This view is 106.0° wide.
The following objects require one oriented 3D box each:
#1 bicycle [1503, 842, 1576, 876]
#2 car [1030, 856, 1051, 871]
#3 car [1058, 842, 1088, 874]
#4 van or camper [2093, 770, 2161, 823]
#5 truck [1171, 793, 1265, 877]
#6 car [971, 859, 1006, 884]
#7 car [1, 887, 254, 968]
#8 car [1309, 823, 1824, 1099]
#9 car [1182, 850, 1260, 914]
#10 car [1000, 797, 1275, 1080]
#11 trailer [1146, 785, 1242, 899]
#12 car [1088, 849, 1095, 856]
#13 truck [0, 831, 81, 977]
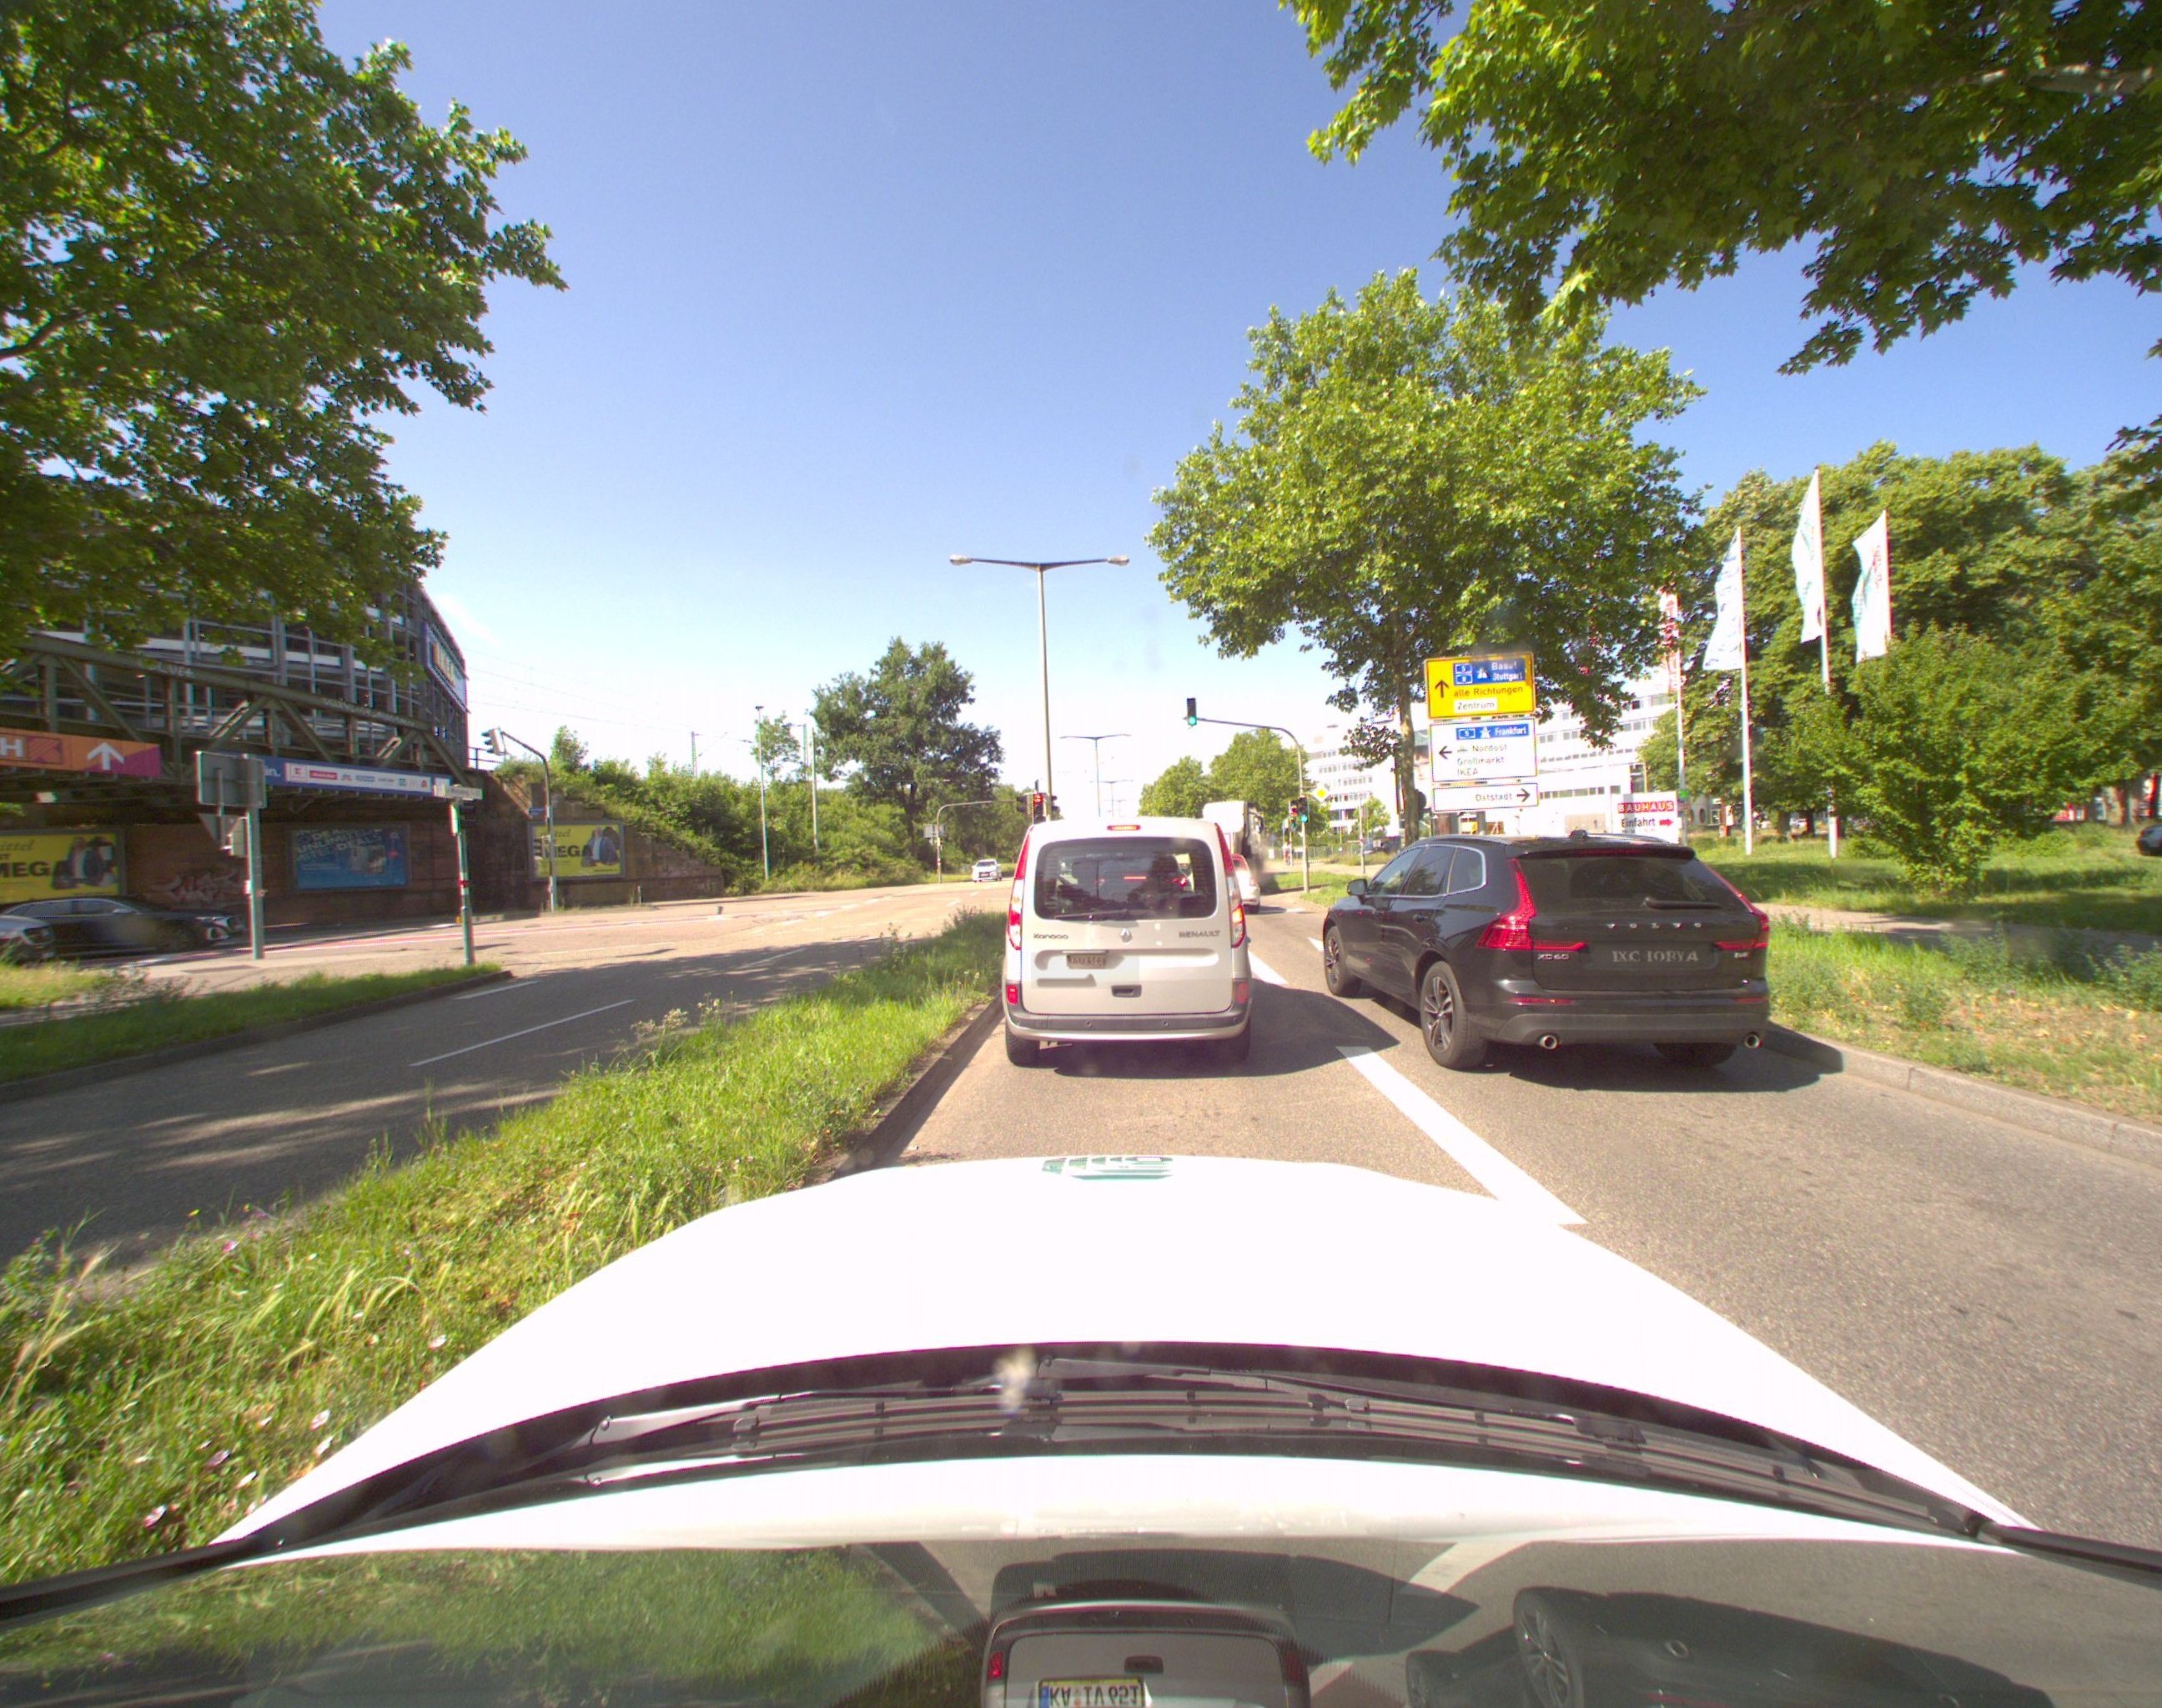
[{"bbox_3d":[15.080,0.169,26.813,1.985,1.014,0.624,-3,0,18],"label":"bicycle"},{"bbox_3d":[-4.808,1.093,97.417,1.902,1.641,3.742,-3,-1,5],"label":"car"},{"bbox_3d":[-0.645,0.349,69.776,1.984,2.607,5.140,-3,-1,5],"label":"car"},{"bbox_3d":[63.646,-3.389,46.467,2.007,2.942,7.213,0,-1,-32],"label":"van or camper"},{"bbox_3d":[6.746,-0.807,39.245,2.885,3.643,7.228,-1,-1,22],"label":"truck"},{"bbox_3d":[-6.253,1.137,55.304,1.693,1.508,4.002,-2,0,2],"label":"car"},{"bbox_3d":[-25.768,1.917,22.257,4.015,1.646,1.885,-4,1,-32],"label":"car"},{"bbox_3d":[3.435,0.638,6.953,1.868,1.591,4.435,0,0,2],"label":"car"},{"bbox_3d":[3.530,0.670,21.024,1.532,1.514,3.261,0,-1,2],"label":"car"},{"bbox_3d":[0.430,0.567,7.307,1.779,1.838,4.001,0,-1,2],"label":"car"},{"bbox_3d":[4.855,-0.334,32.556,2.881,3.622,12.727,-1,0,12],"label":"trailer"},{"bbox_3d":[3.290,-0.477,250.846,1.880,2.014,4.004,0,-1,4],"label":"car"},{"bbox_3d":[-26.327,1.273,16.669,6.890,3.105,2.196,-4,1,-32],"label":"truck"}]
